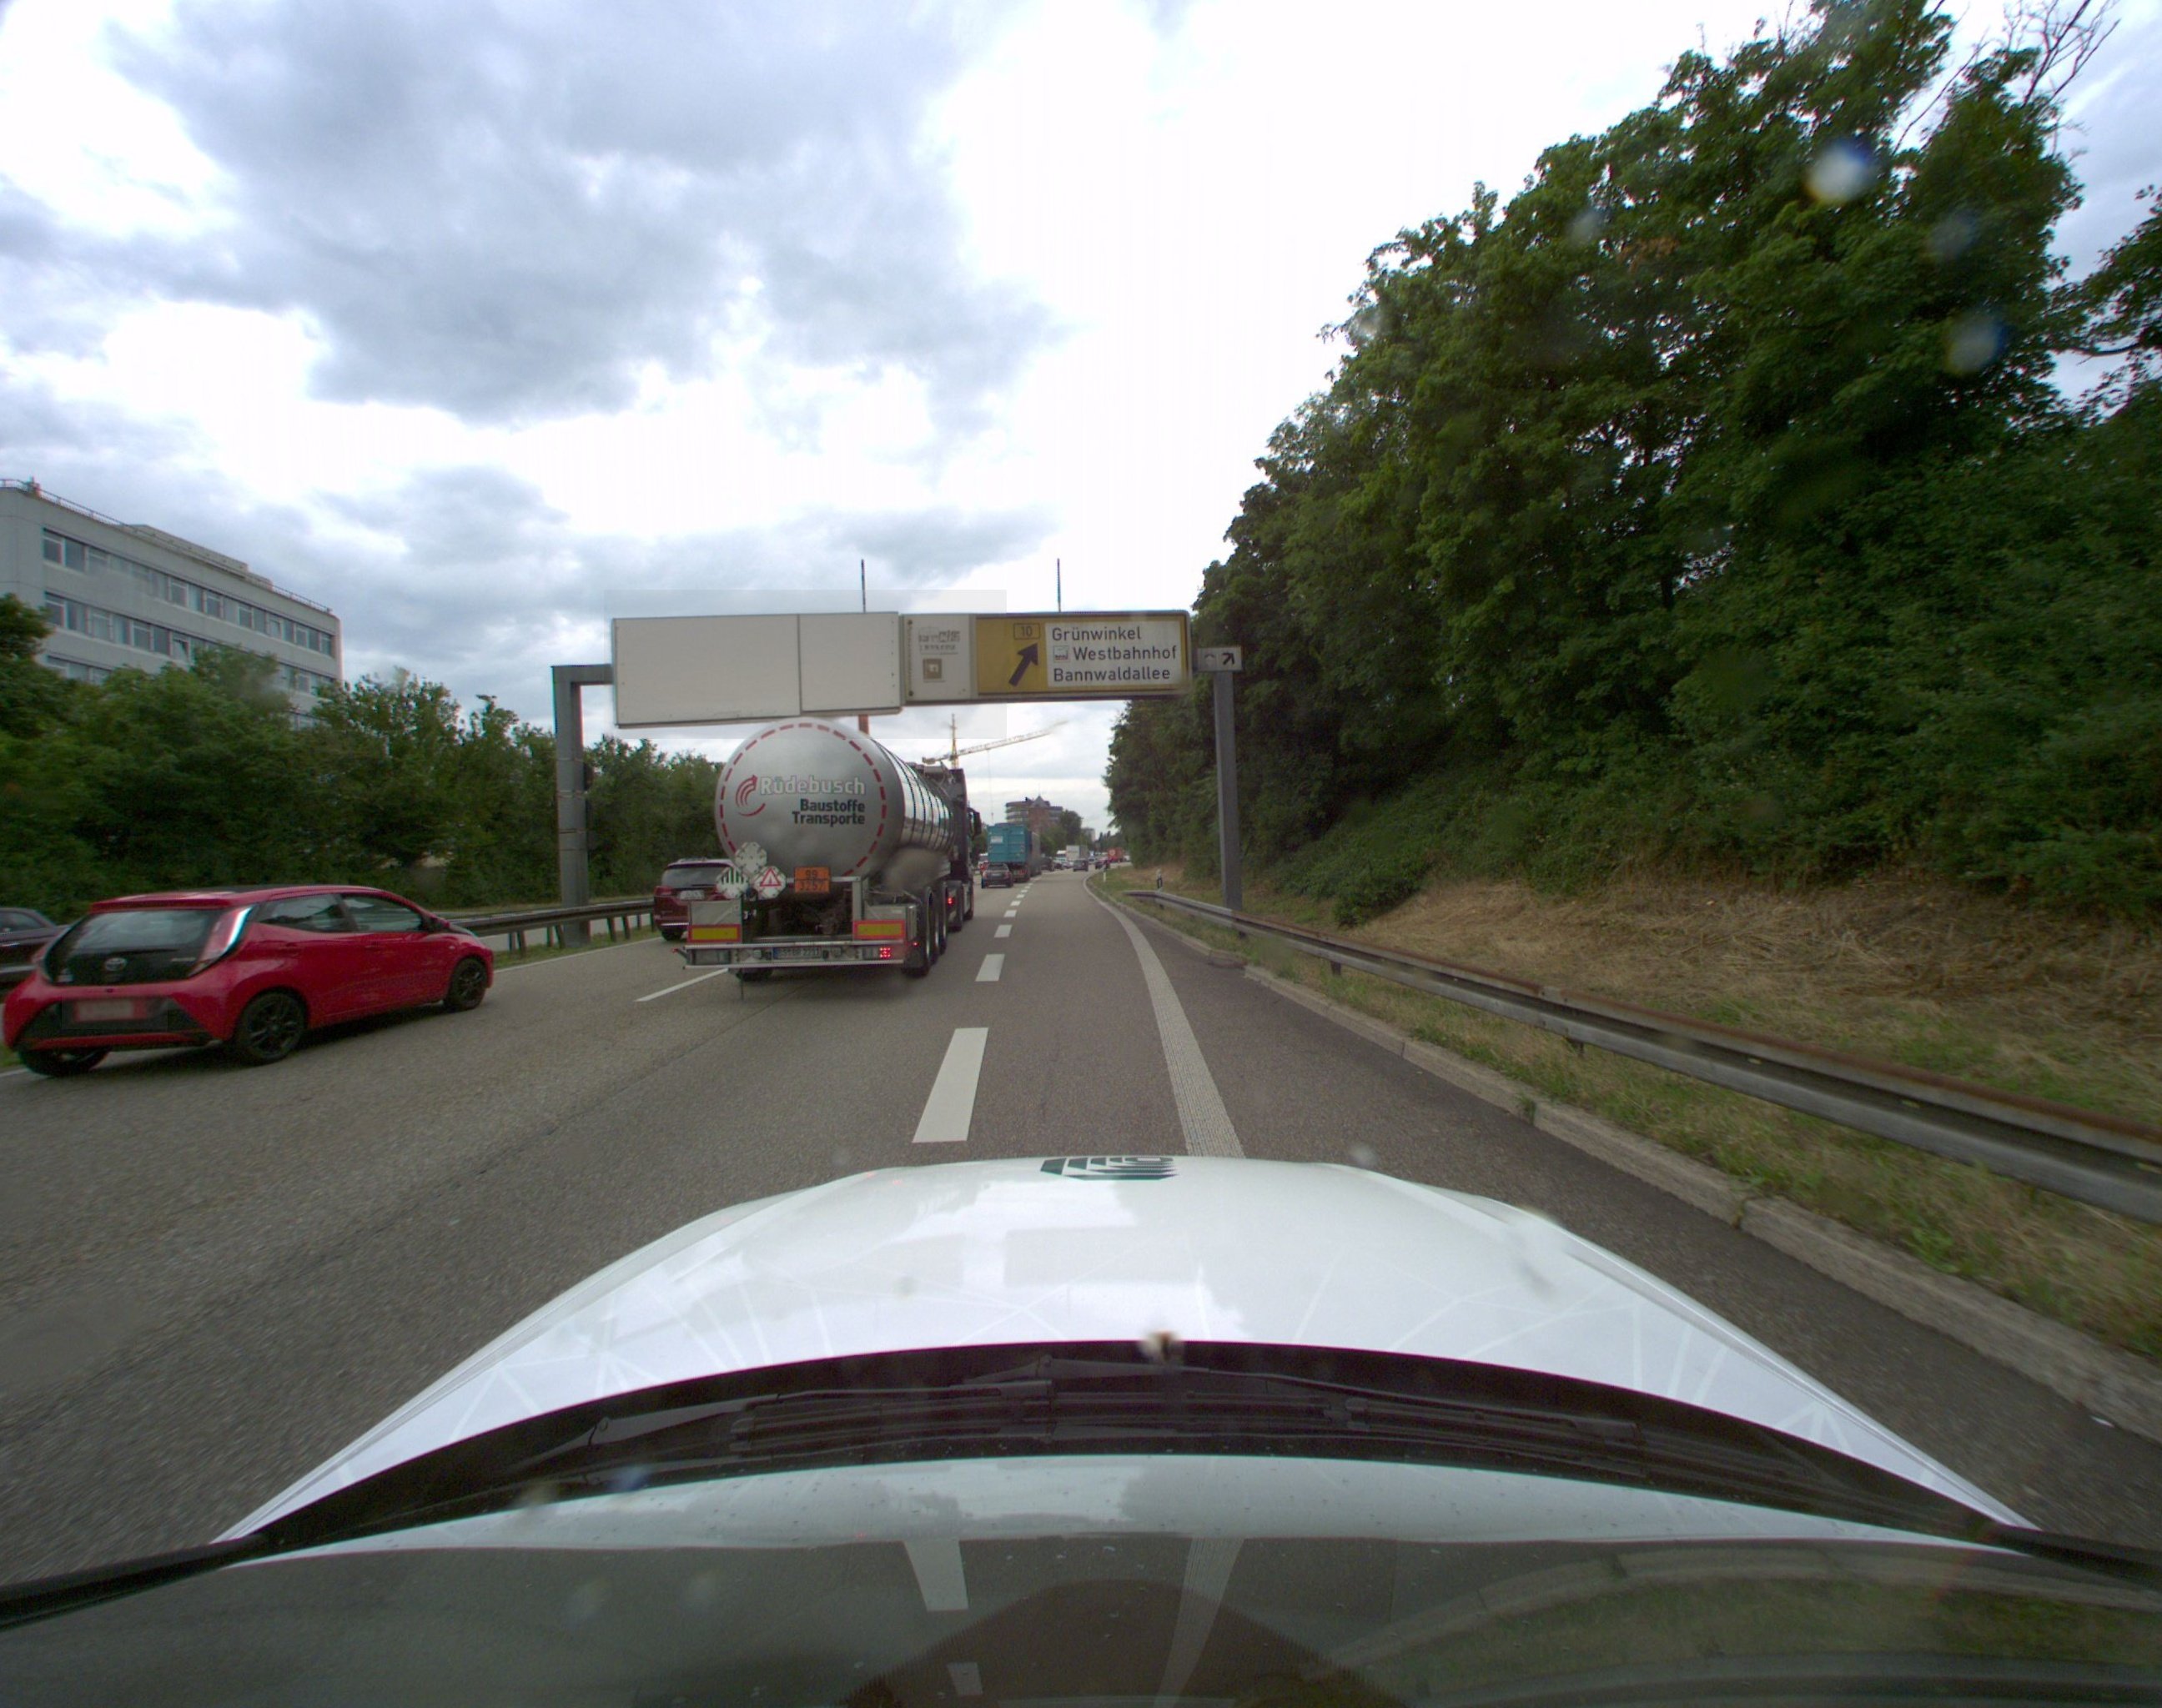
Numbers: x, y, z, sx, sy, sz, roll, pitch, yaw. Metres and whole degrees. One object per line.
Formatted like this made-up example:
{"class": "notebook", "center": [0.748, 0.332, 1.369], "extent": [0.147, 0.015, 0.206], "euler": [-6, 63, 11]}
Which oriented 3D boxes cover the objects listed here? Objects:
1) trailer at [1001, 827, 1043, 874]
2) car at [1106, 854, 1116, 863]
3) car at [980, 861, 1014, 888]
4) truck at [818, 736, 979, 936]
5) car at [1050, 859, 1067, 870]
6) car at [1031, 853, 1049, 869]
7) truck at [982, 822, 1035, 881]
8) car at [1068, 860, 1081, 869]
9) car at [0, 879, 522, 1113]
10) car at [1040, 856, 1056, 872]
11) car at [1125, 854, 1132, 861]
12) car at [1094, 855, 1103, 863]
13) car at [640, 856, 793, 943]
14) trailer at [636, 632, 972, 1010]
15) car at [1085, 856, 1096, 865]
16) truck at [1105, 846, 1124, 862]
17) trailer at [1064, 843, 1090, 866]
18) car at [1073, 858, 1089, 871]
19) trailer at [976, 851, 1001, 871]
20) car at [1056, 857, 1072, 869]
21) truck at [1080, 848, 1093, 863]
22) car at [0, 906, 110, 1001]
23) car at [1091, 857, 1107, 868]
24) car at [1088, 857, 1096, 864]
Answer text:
{"class": "trailer", "center": [-5.390, -0.199, 77.229], "extent": [2.617, 4.023, 13.467], "euler": [-1, -1, 1]}
{"class": "car", "center": [7.775, 1.174, 211.426], "extent": [1.983, 2.013, 4.008], "euler": [-2, 0, 7]}
{"class": "car", "center": [-4.875, 1.184, 47.874], "extent": [1.744, 1.422, 3.660], "euler": [-2, 0, -3]}
{"class": "truck", "center": [-4.086, -0.352, 19.836], "extent": [2.678, 3.907, 6.925], "euler": [-2, 0, -4]}
{"class": "car", "center": [-3.192, 1.457, 116.002], "extent": [1.839, 1.460, 4.835], "euler": [-2, 0, 3]}
{"class": "car", "center": [-6.959, 1.165, 138.028], "extent": [1.983, 2.553, 5.373], "euler": [-2, 0, 7]}
{"class": "truck", "center": [-5.195, -0.130, 60.175], "extent": [2.921, 3.796, 11.324], "euler": [-3, 0, -1]}
{"class": "car", "center": [-1.129, 1.781, 139.519], "extent": [1.756, 1.478, 4.093], "euler": [-4, 0, 4]}
{"class": "car", "center": [-7.393, 1.043, 7.651], "extent": [1.624, 1.524, 4.085], "euler": [-1, -1, -3]}
{"class": "car", "center": [-4.228, 1.228, 103.969], "extent": [1.983, 1.898, 4.980], "euler": [-2, 0, -3]}
{"class": "car", "center": [14.379, 1.081, 247.877], "extent": [1.604, 2.013, 4.013], "euler": [-2, 0, 11]}
{"class": "car", "center": [4.782, 1.352, 221.316], "extent": [1.808, 2.013, 4.008], "euler": [-2, 0, 7]}
{"class": "car", "center": [-7.996, 0.935, 18.291], "extent": [1.872, 1.707, 3.993], "euler": [-1, -1, -4]}
{"class": "trailer", "center": [-3.639, -0.344, 14.092], "extent": [2.678, 3.907, 10.969], "euler": [-2, 0, -4]}
{"class": "car", "center": [2.058, 1.424, 178.928], "extent": [1.789, 1.604, 4.268], "euler": [-4, 0, 8]}
{"class": "truck", "center": [9.340, -0.047, 223.366], "extent": [3.469, 4.073, 13.627], "euler": [-3, 0, 9]}
{"class": "trailer", "center": [-0.655, 0.184, 152.449], "extent": [3.281, 4.036, 13.121], "euler": [-1, -1, 7]}
{"class": "car", "center": [-0.035, 1.331, 102.514], "extent": [1.818, 1.482, 4.002], "euler": [-3, 0, 2]}
{"class": "trailer", "center": [-17.120, 1.315, 150.827], "extent": [2.460, 3.396, 12.472], "euler": [-3, 0, 3]}
{"class": "car", "center": [-2.709, 1.375, 128.931], "extent": [1.947, 1.695, 4.873], "euler": [-2, 0, 5]}
{"class": "truck", "center": [1.549, 0.515, 231.429], "extent": [2.725, 4.138, 10.714], "euler": [-1, -1, 6]}
{"class": "car", "center": [-18.766, 1.726, 13.272], "extent": [1.572, 1.496, 3.823], "euler": [-2, 0, -8]}
{"class": "car", "center": [2.672, 1.212, 118.640], "extent": [1.815, 1.482, 4.009], "euler": [-2, 0, 8]}
{"class": "car", "center": [2.451, 1.482, 182.032], "extent": [1.523, 1.552, 3.424], "euler": [-2, 0, 6]}
